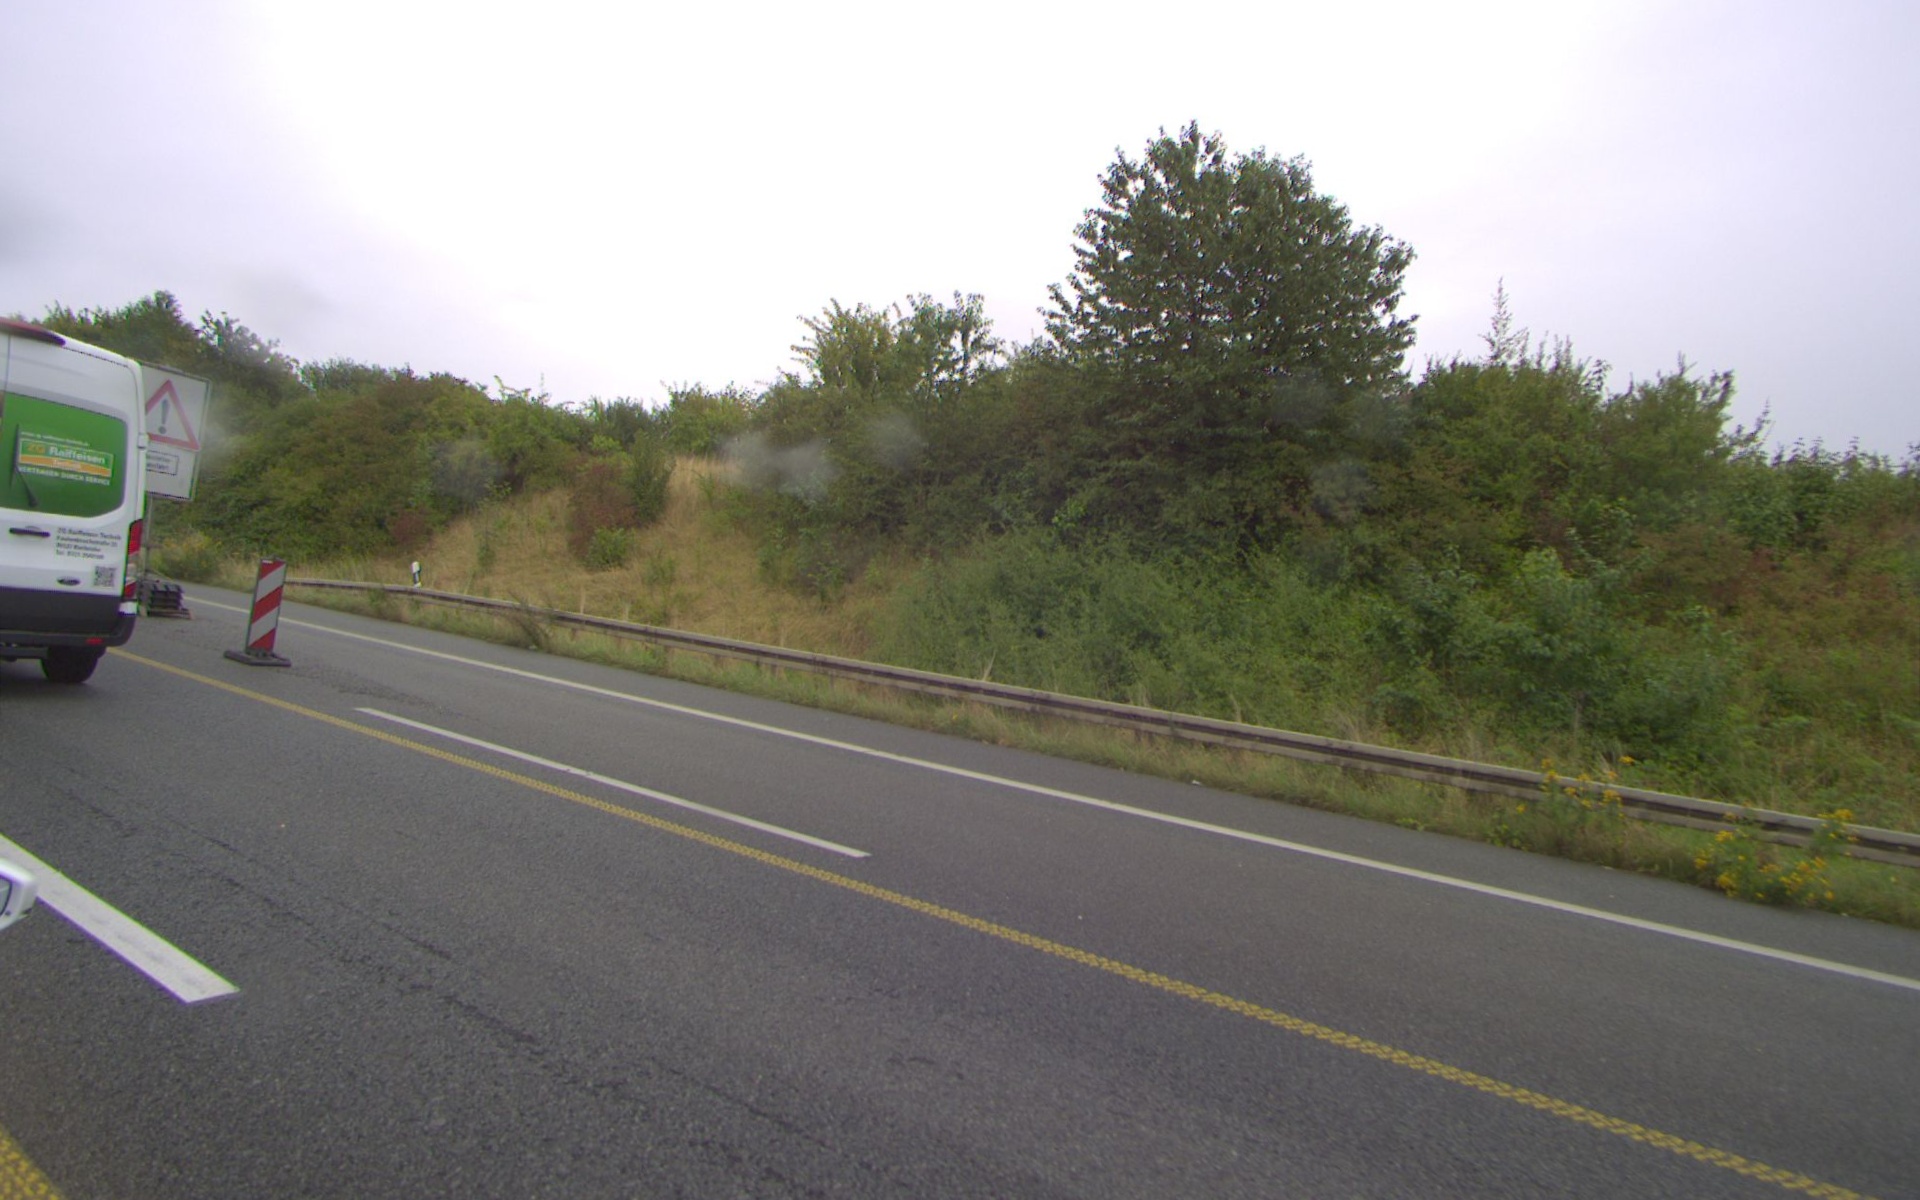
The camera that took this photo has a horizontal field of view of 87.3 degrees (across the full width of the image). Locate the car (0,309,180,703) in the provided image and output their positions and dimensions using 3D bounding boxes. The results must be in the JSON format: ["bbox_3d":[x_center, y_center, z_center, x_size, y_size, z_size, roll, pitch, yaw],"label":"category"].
[{"bbox_3d":[-9.329,-0.940,8.665,5.659,2.816,1.997,7,0,31],"label":"car"}]
